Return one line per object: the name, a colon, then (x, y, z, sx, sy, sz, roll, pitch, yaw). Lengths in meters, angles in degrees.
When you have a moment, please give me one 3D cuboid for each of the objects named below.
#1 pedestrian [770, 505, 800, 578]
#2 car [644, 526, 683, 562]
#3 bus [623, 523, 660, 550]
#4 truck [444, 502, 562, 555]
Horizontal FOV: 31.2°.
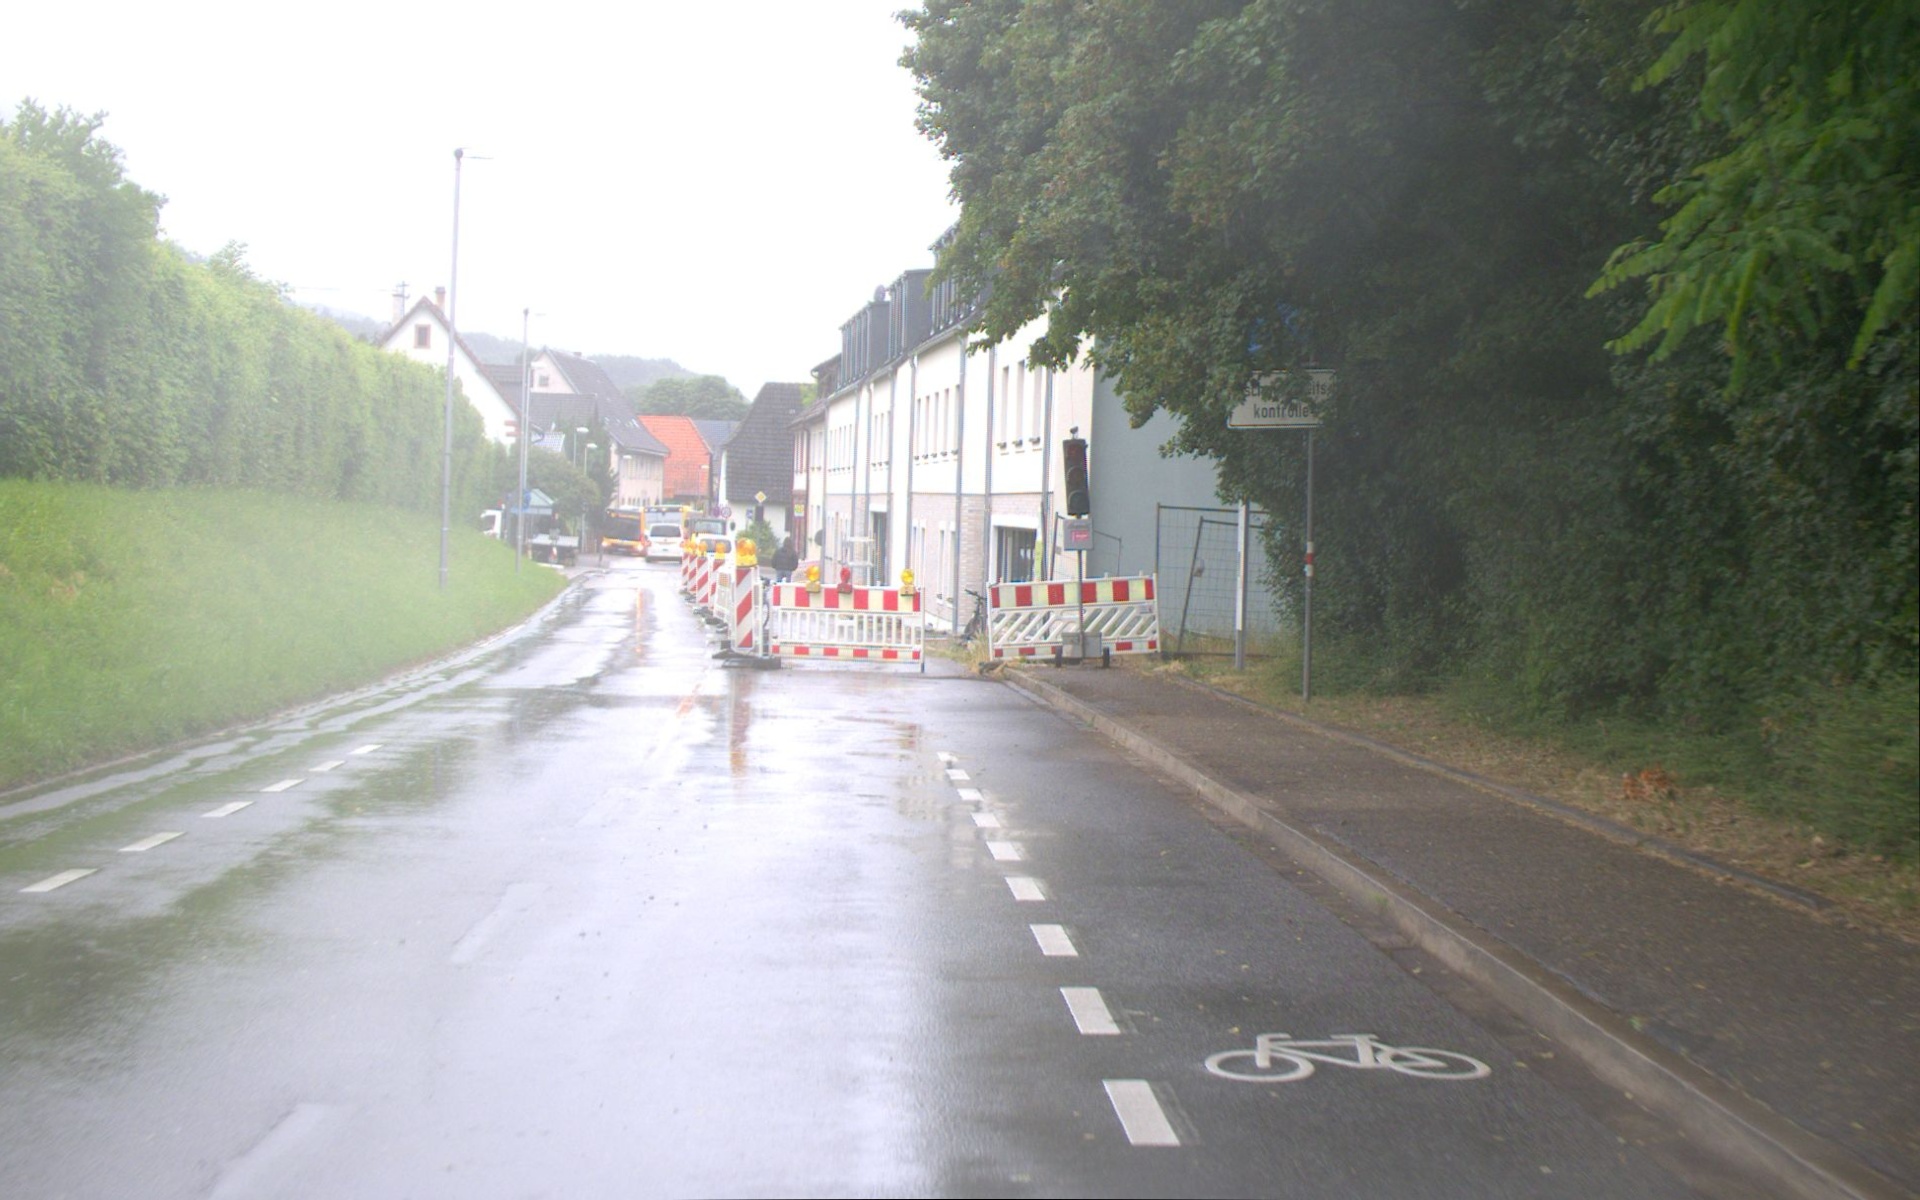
pedestrian: (-4.227, -1.426, 83.080, 0.665, 1.749, 0.812, 0, 1, -7)
car: (-14.746, -2.798, 170.732, 1.818, 1.636, 4.096, -4, 2, -5)
bus: (-17.594, -3.518, 190.270, 1.794, 1.405, 4.001, 3, 1, -3)
truck: (-19.391, -3.027, 145.958, 4.887, 2.006, 2.001, 2, 2, -7)
